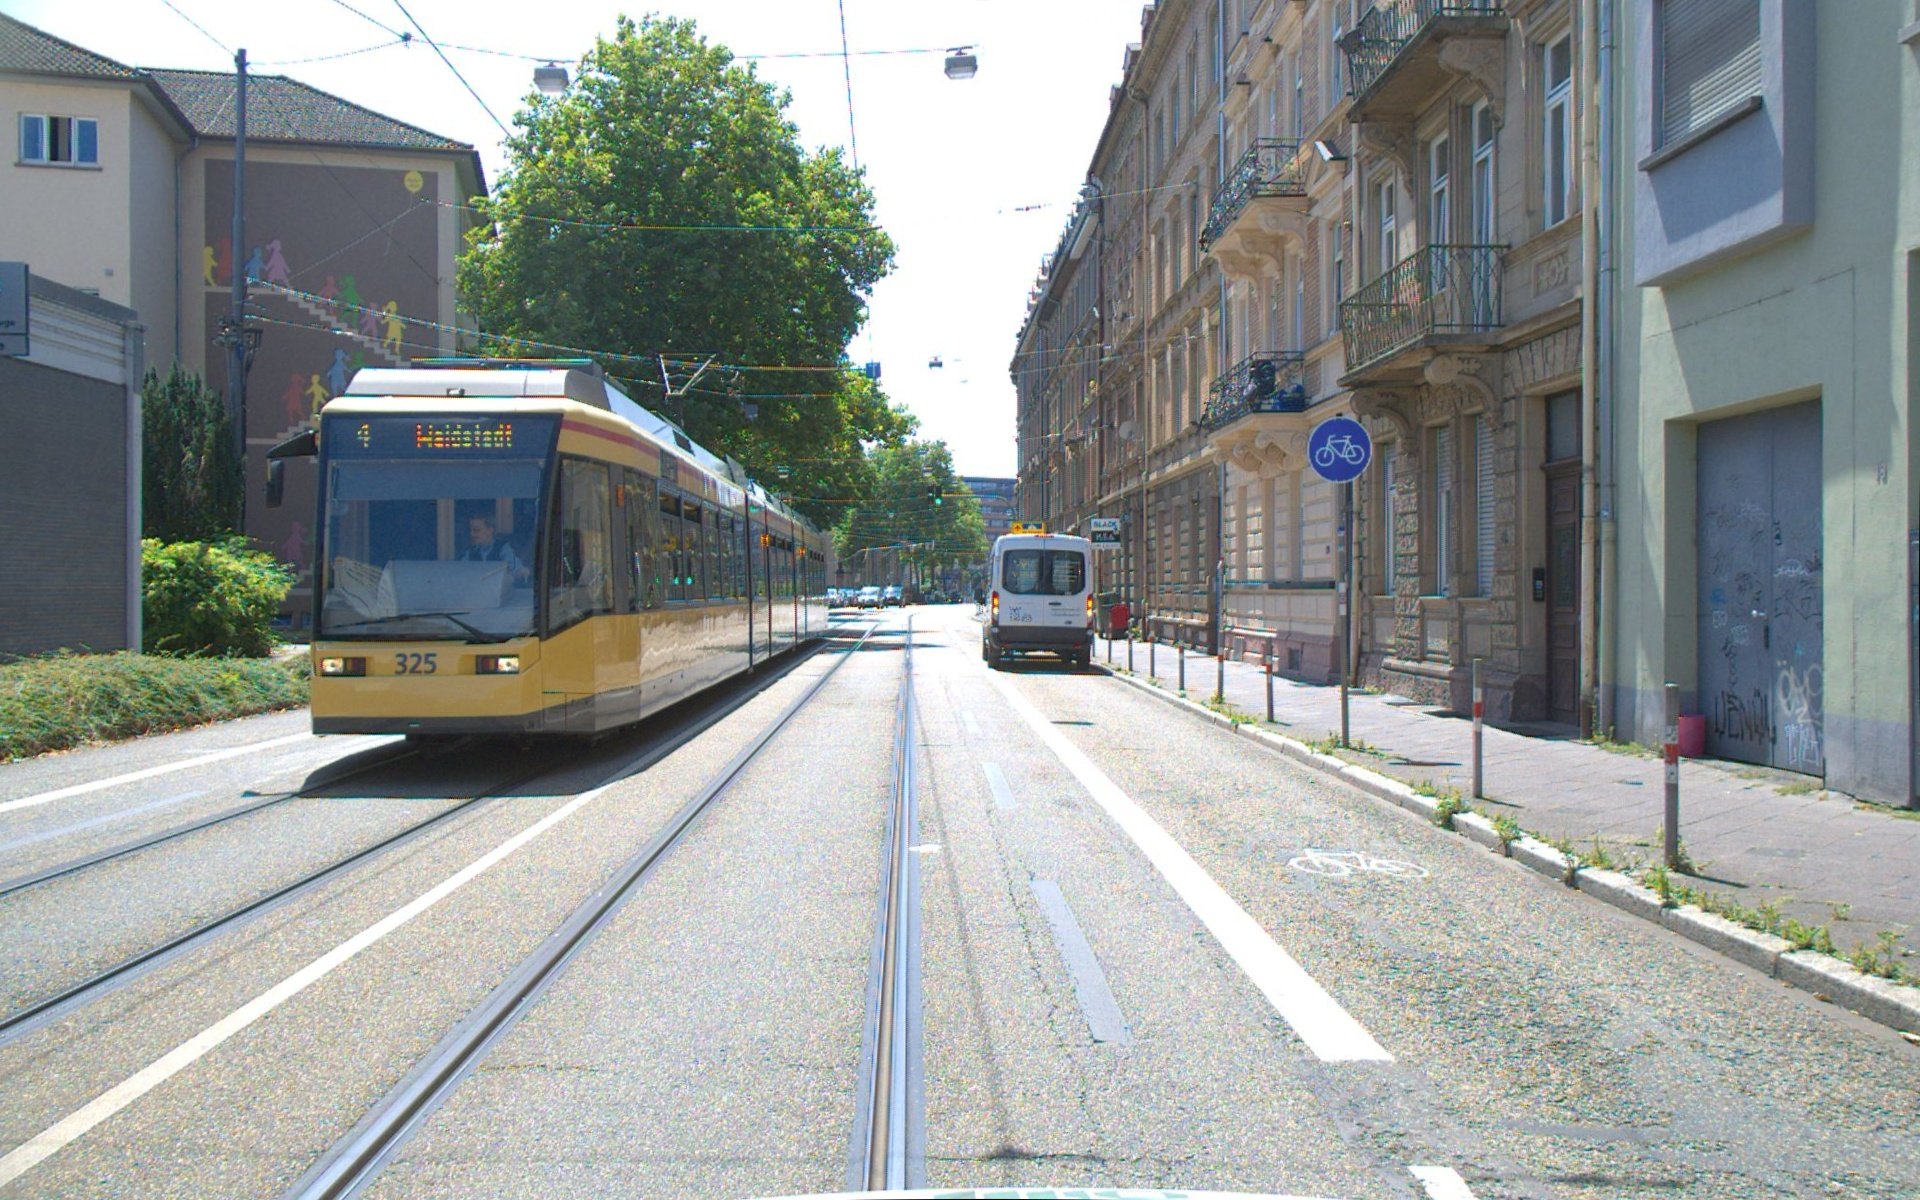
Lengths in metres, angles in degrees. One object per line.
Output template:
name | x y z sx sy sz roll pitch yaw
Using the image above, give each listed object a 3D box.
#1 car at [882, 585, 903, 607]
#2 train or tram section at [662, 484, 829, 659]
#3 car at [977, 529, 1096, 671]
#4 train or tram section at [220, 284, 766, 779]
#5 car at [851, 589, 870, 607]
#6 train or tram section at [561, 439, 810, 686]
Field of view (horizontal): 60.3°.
car | -5.787 -0.336 141.115 1.641 1.892 3.996 0 0 -4
train or tram section | -5.015 -0.652 41.357 2.901 3.643 13.418 0 0 -2
car | 1.409 -0.021 32.736 2.025 2.544 5.453 1 0 -1
train or tram section | -4.229 -0.565 18.948 2.901 3.643 13.418 0 0 -2
car | -8.044 -0.151 133.939 1.498 1.433 3.487 0 0 -4
train or tram section | -4.662 -0.612 31.117 2.901 3.643 13.418 0 0 -2
